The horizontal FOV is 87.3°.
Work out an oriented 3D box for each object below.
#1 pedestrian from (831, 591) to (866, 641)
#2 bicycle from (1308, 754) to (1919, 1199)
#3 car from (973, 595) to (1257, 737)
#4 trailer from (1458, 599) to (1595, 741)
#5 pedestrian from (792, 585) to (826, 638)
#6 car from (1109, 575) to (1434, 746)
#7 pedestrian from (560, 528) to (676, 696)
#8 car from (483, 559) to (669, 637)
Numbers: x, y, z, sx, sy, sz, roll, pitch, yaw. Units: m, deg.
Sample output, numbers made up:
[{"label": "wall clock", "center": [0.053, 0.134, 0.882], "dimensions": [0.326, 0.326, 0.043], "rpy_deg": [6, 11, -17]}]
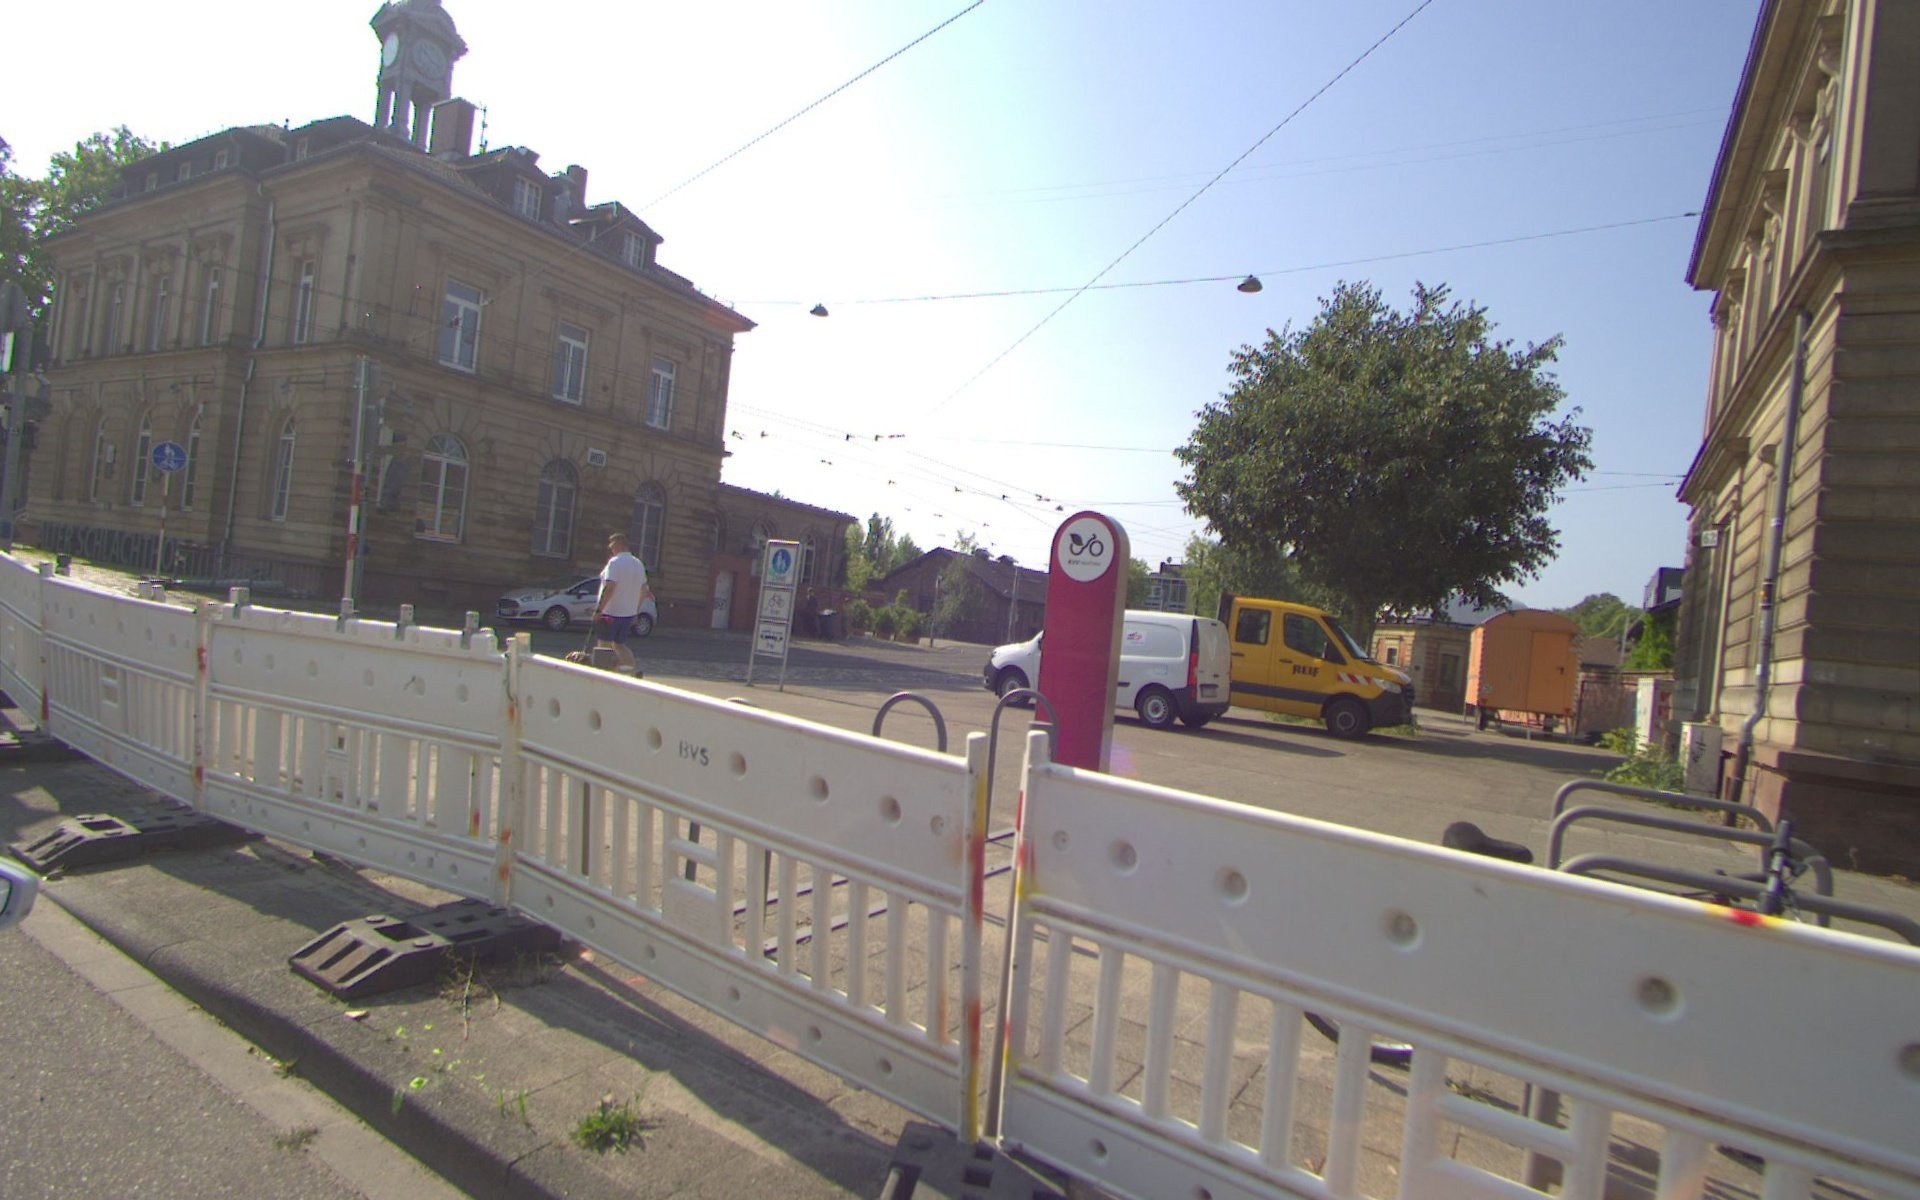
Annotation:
[{"label": "pedestrian", "center": [-4.439, 0.641, 39.942], "dimensions": [1.019, 1.887, 0.671], "rpy_deg": [6, 0, 18]}, {"label": "bicycle", "center": [1.921, 1.101, 2.942], "dimensions": [1.545, 1.019, 0.538], "rpy_deg": [6, 1, 33]}, {"label": "car", "center": [2.520, 1.024, 16.818], "dimensions": [4.160, 1.805, 1.903], "rpy_deg": [5, 0, 36]}, {"label": "trailer", "center": [14.217, 1.778, 25.524], "dimensions": [2.470, 3.084, 4.119], "rpy_deg": [5, -2, 25]}, {"label": "pedestrian", "center": [-5.682, 0.442, 37.854], "dimensions": [0.856, 1.887, 0.669], "rpy_deg": [6, 0, 36]}, {"label": "car", "center": [5.884, 1.066, 19.111], "dimensions": [5.393, 2.452, 2.263], "rpy_deg": [6, -1, 27]}, {"label": "pedestrian", "center": [-3.819, 0.144, 11.278], "dimensions": [0.659, 1.758, 0.869], "rpy_deg": [6, 0, 22]}, {"label": "car", "center": [-9.316, 0.001, 24.698], "dimensions": [1.638, 1.556, 4.001], "rpy_deg": [6, 0, 33]}]
